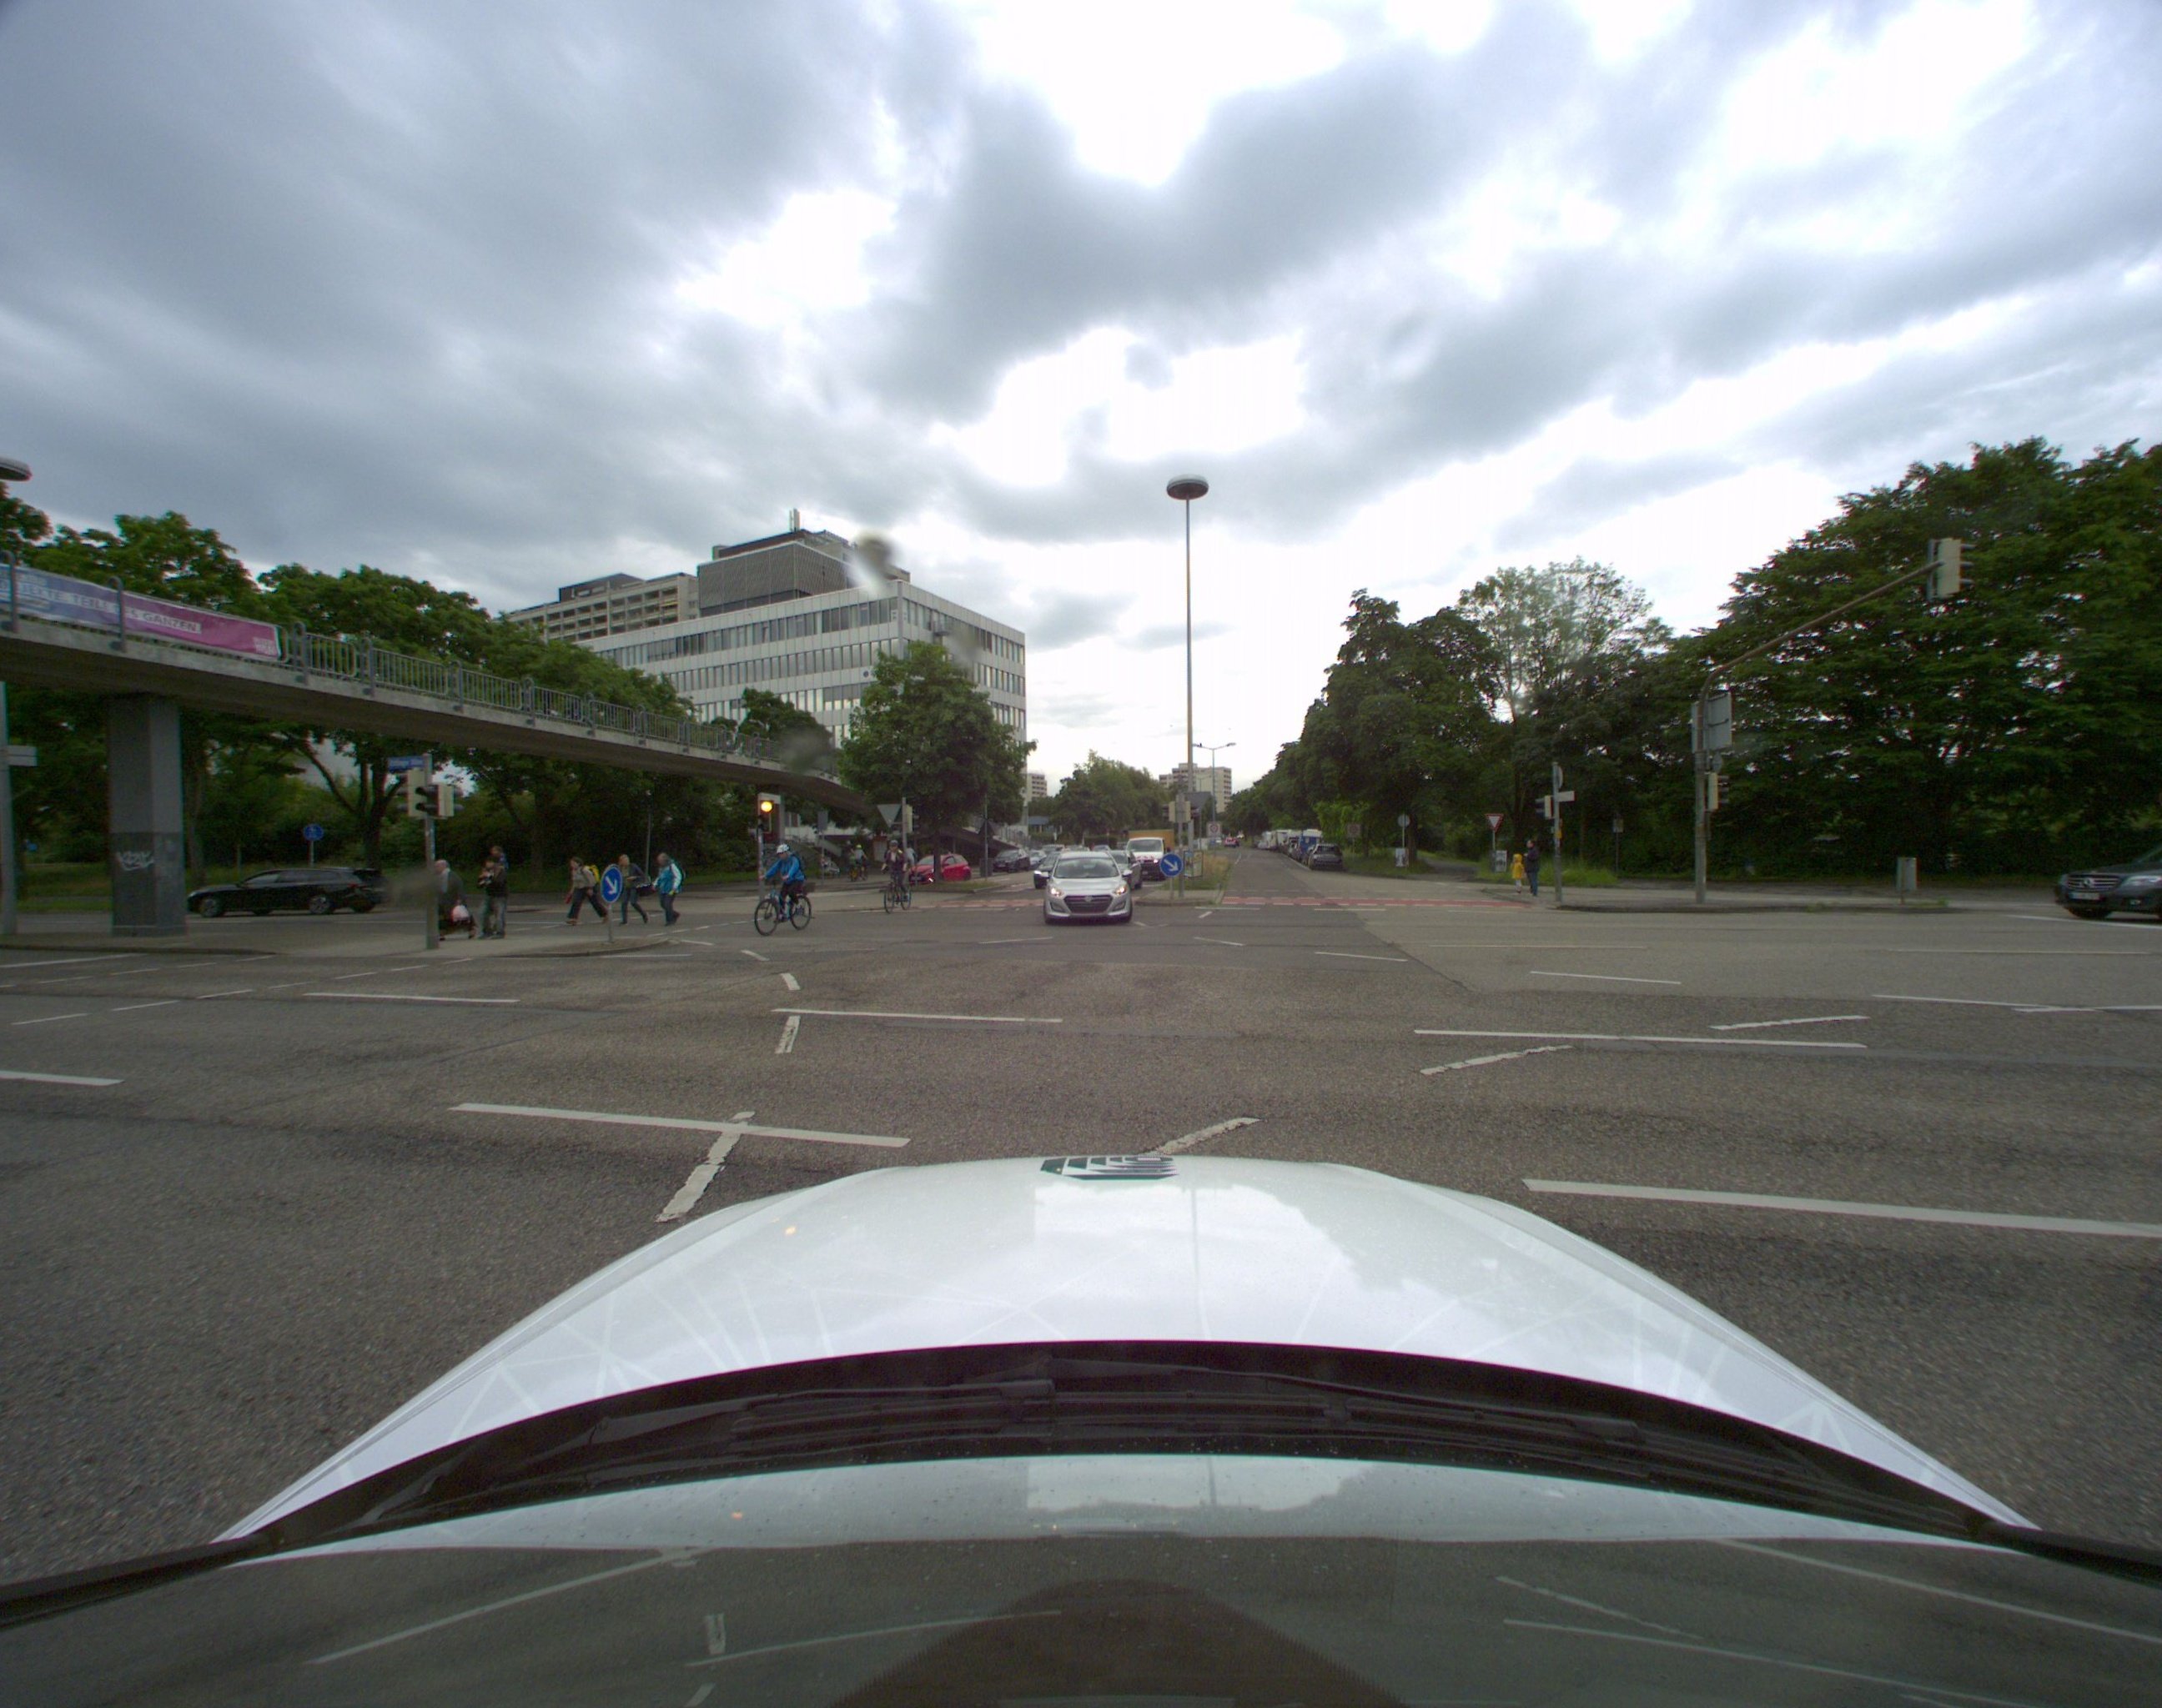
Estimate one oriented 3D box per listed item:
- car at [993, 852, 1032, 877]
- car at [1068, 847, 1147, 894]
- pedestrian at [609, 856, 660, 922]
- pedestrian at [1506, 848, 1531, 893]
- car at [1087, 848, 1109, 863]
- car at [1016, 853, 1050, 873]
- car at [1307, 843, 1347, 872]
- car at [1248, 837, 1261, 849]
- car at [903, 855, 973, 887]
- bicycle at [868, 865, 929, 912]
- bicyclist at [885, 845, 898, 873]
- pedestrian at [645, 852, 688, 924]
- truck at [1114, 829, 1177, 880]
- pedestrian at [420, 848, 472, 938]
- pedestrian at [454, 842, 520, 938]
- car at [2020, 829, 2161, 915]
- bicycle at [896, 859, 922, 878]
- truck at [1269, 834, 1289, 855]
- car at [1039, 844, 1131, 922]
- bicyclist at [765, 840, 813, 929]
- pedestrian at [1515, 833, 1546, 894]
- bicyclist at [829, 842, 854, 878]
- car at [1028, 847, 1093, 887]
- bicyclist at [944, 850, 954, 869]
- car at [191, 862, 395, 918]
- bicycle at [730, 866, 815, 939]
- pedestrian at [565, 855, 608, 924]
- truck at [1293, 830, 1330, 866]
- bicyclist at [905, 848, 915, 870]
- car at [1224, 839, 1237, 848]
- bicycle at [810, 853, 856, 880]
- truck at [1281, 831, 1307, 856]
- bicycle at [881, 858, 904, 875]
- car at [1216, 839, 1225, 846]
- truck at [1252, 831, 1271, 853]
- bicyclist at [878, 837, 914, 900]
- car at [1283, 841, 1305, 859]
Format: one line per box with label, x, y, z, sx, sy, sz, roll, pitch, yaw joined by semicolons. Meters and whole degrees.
car;-4.624;0.670;55.366;1.661;1.552;3.903;-1;1;10
car;1.014;0.510;28.131;1.884;1.420;4.752;-1;1;12
pedestrian;-10.343;0.804;18.866;0.915;1.511;0.404;-1;0;-2
pedestrian;13.061;0.491;24.322;0.523;1.342;0.526;-1;0;9
car;1.856;0.150;85.950;1.661;1.552;4.012;-1;1;10
car;-3.541;0.665;60.773;1.661;1.387;3.907;-1;1;10
car;14.571;0.162;48.455;1.773;1.662;4.011;-1;1;9
car;28.175;-1.823;132.369;1.643;1.918;3.926;-1;1;6
car;-6.489;0.743;37.276;1.499;1.390;3.552;-1;0;22
bicycle;-4.754;0.869;21.403;0.722;1.101;2.270;-1;1;10
bicyclist;-11.153;0.273;47.895;0.560;1.644;0.534;-1;0;17
pedestrian;-9.375;0.758;18.449;0.683;1.604;0.489;-1;0;5
truck;3.105;-0.020;37.875;2.141;2.199;5.860;-1;1;12
pedestrian;-12.070;0.730;15.486;0.617;1.691;0.404;-1;0;-4
pedestrian;-11.420;0.672;15.669;0.634;1.803;0.802;-1;0;1
car;20.620;0.277;14.836;4.437;1.504;1.851;-1;1;10
bicycle;-9.533;0.789;45.185;0.758;0.949;1.958;-1;1;9
truck;25.685;-1.209;105.788;1.982;2.572;5.390;-1;0;8
car;0.203;0.543;18.261;1.781;1.519;4.330;-1;1;4
bicyclist;-5.915;0.607;16.521;0.640;1.768;0.649;-1;0;11
pedestrian;13.081;0.282;23.703;0.653;1.749;0.460;-1;0;9
bicyclist;-12.969;0.329;44.129;0.850;1.892;1.131;-1;1;12
car;-0.759;0.465;33.141;1.759;1.477;4.402;-1;1;10
bicyclist;-8.344;0.351;51.430;0.428;1.217;0.569;-1;0;9
car;-23.933;1.070;24.871;4.375;1.508;1.670;-1;1;-4
bicycle;-6.035;0.914;16.070;0.539;1.267;2.117;-1;1;10
pedestrian;-11.664;0.826;19.213;0.578;1.579;0.779;-1;0;-9
truck;18.296;-0.452;64.911;2.161;2.656;6.263;-1;0;10
bicyclist;-9.477;0.289;45.034;0.402;1.181;0.378;-1;1;11
car;25.302;-1.789;138.105;2.009;1.505;4.009;-1;1;7
bicycle;-13.115;0.633;43.281;0.850;1.315;3.241;-1;1;12
truck;24.450;-1.182;93.723;1.983;2.838;5.741;-1;0;6
bicycle;-11.106;0.756;48.002;0.522;0.949;1.717;-1;1;18
car;30.206;-2.518;176.275;2.008;1.505;4.011;-1;1;9
truck;25.855;-1.703;116.724;1.983;3.009;5.783;-1;0;7
bicyclist;-4.823;0.366;21.206;0.675;1.594;0.697;-1;0;9
car;22.066;-0.448;84.402;1.710;1.759;4.009;-1;0;8
